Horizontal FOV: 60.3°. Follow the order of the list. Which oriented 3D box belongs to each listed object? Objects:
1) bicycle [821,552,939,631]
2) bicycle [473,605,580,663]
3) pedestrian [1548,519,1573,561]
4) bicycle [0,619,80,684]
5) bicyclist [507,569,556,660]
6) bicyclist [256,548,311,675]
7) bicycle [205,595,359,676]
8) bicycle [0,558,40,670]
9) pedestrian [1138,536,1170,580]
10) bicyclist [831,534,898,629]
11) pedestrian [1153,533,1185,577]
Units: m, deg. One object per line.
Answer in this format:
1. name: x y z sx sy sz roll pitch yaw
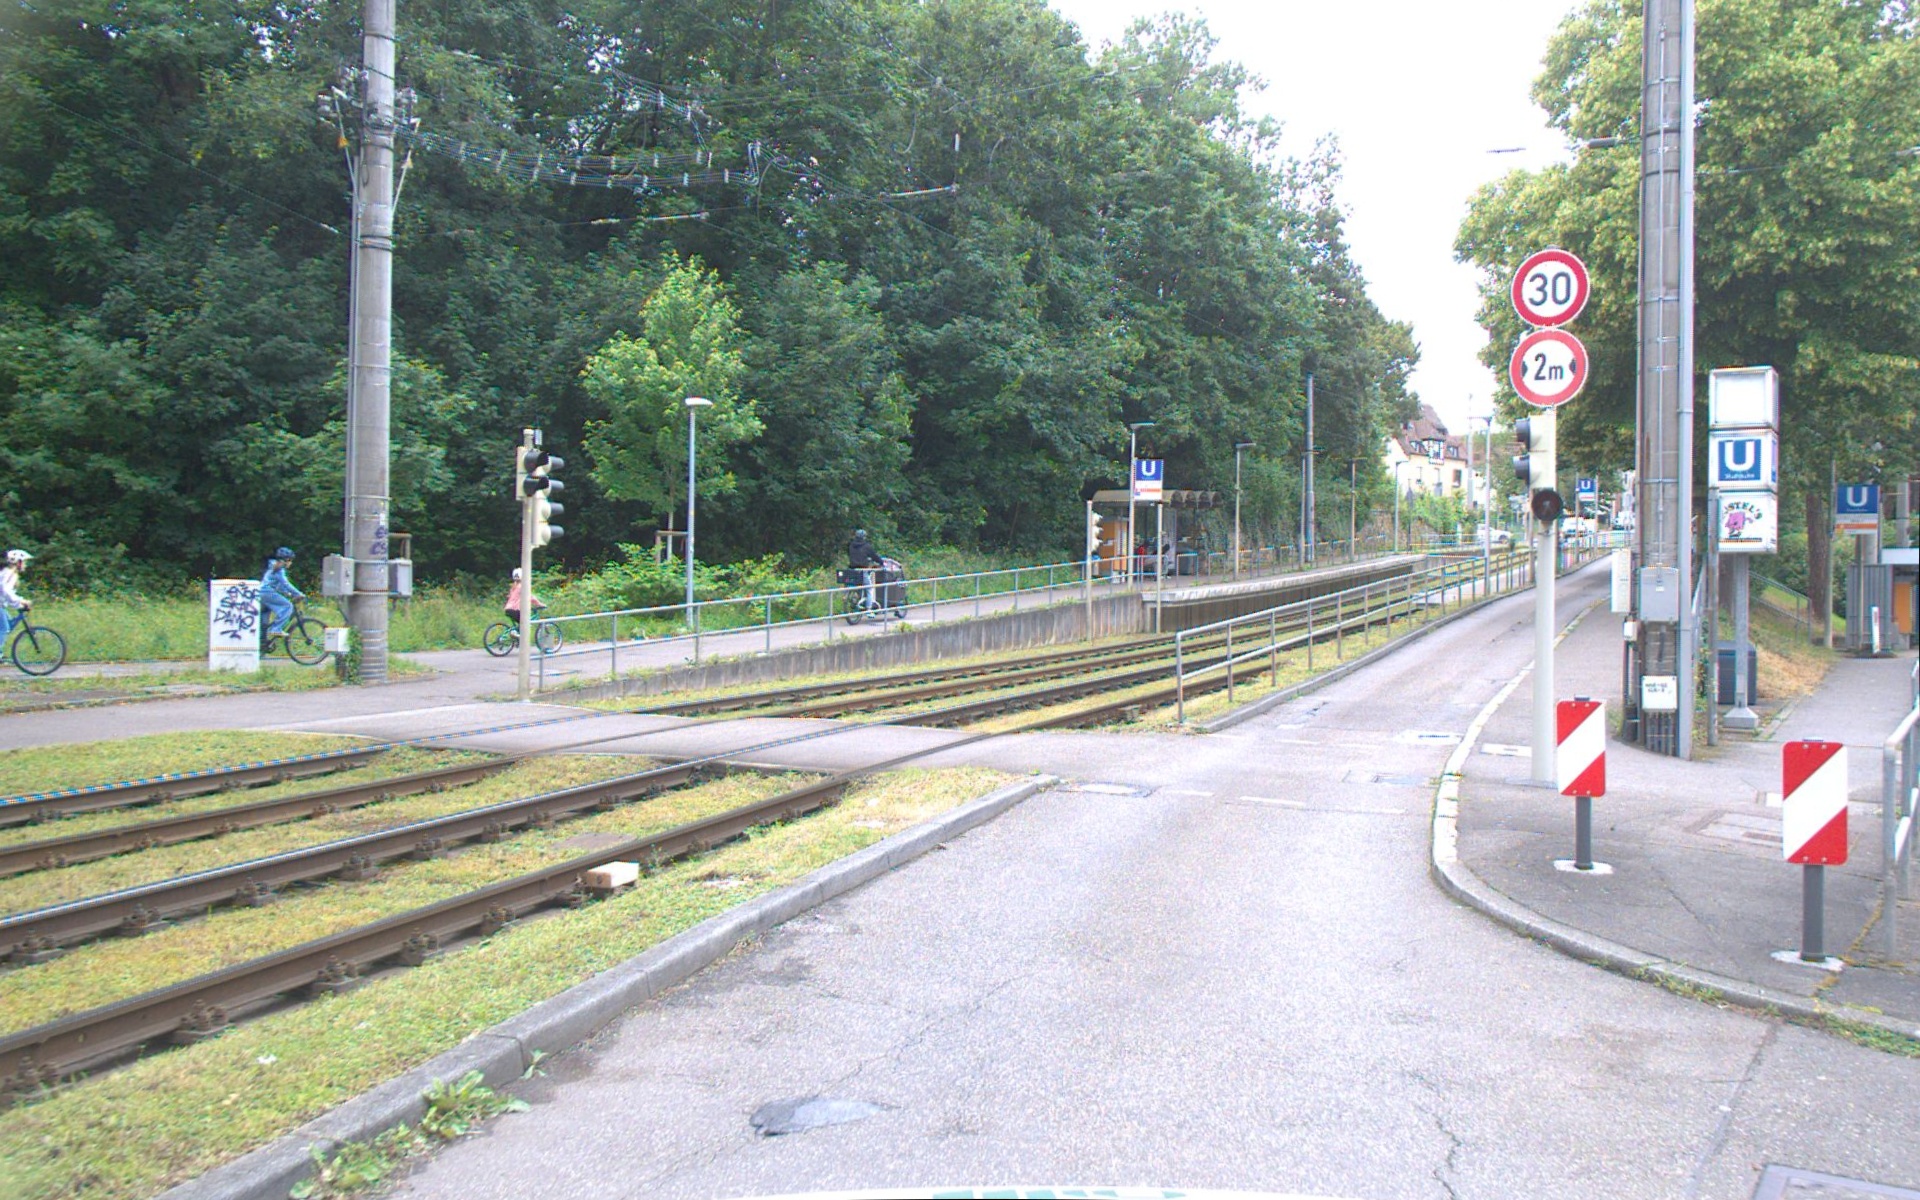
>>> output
1. bicycle: -1.537 -0.205 32.558 0.719 1.311 3.343 3 5 27
2. bicycle: -6.590 0.508 25.194 1.547 0.751 0.448 -4 7 -43
3. pedestrian: 21.507 -2.153 59.246 0.728 1.433 0.746 3 5 25
4. bicycle: -11.912 0.643 20.593 1.636 0.751 0.449 -1 4 -39
5. bicyclist: -6.539 0.215 25.220 0.576 1.323 0.448 -4 7 -43
6. bicyclist: -9.385 0.152 22.943 0.616 1.703 0.470 0 4 -34
7. bicycle: -9.396 0.476 22.960 1.922 1.059 0.470 0 4 -35
8. bicycle: -11.805 0.166 20.636 0.511 1.352 0.449 -1 4 -38
9. pedestrian: 6.123 -1.327 52.240 0.756 1.348 0.787 3 3 25
10. bicyclist: -1.835 -0.377 31.950 0.719 1.740 1.291 3 5 28
11. pedestrian: 6.744 -1.451 53.297 0.756 1.349 0.786 3 1 25
